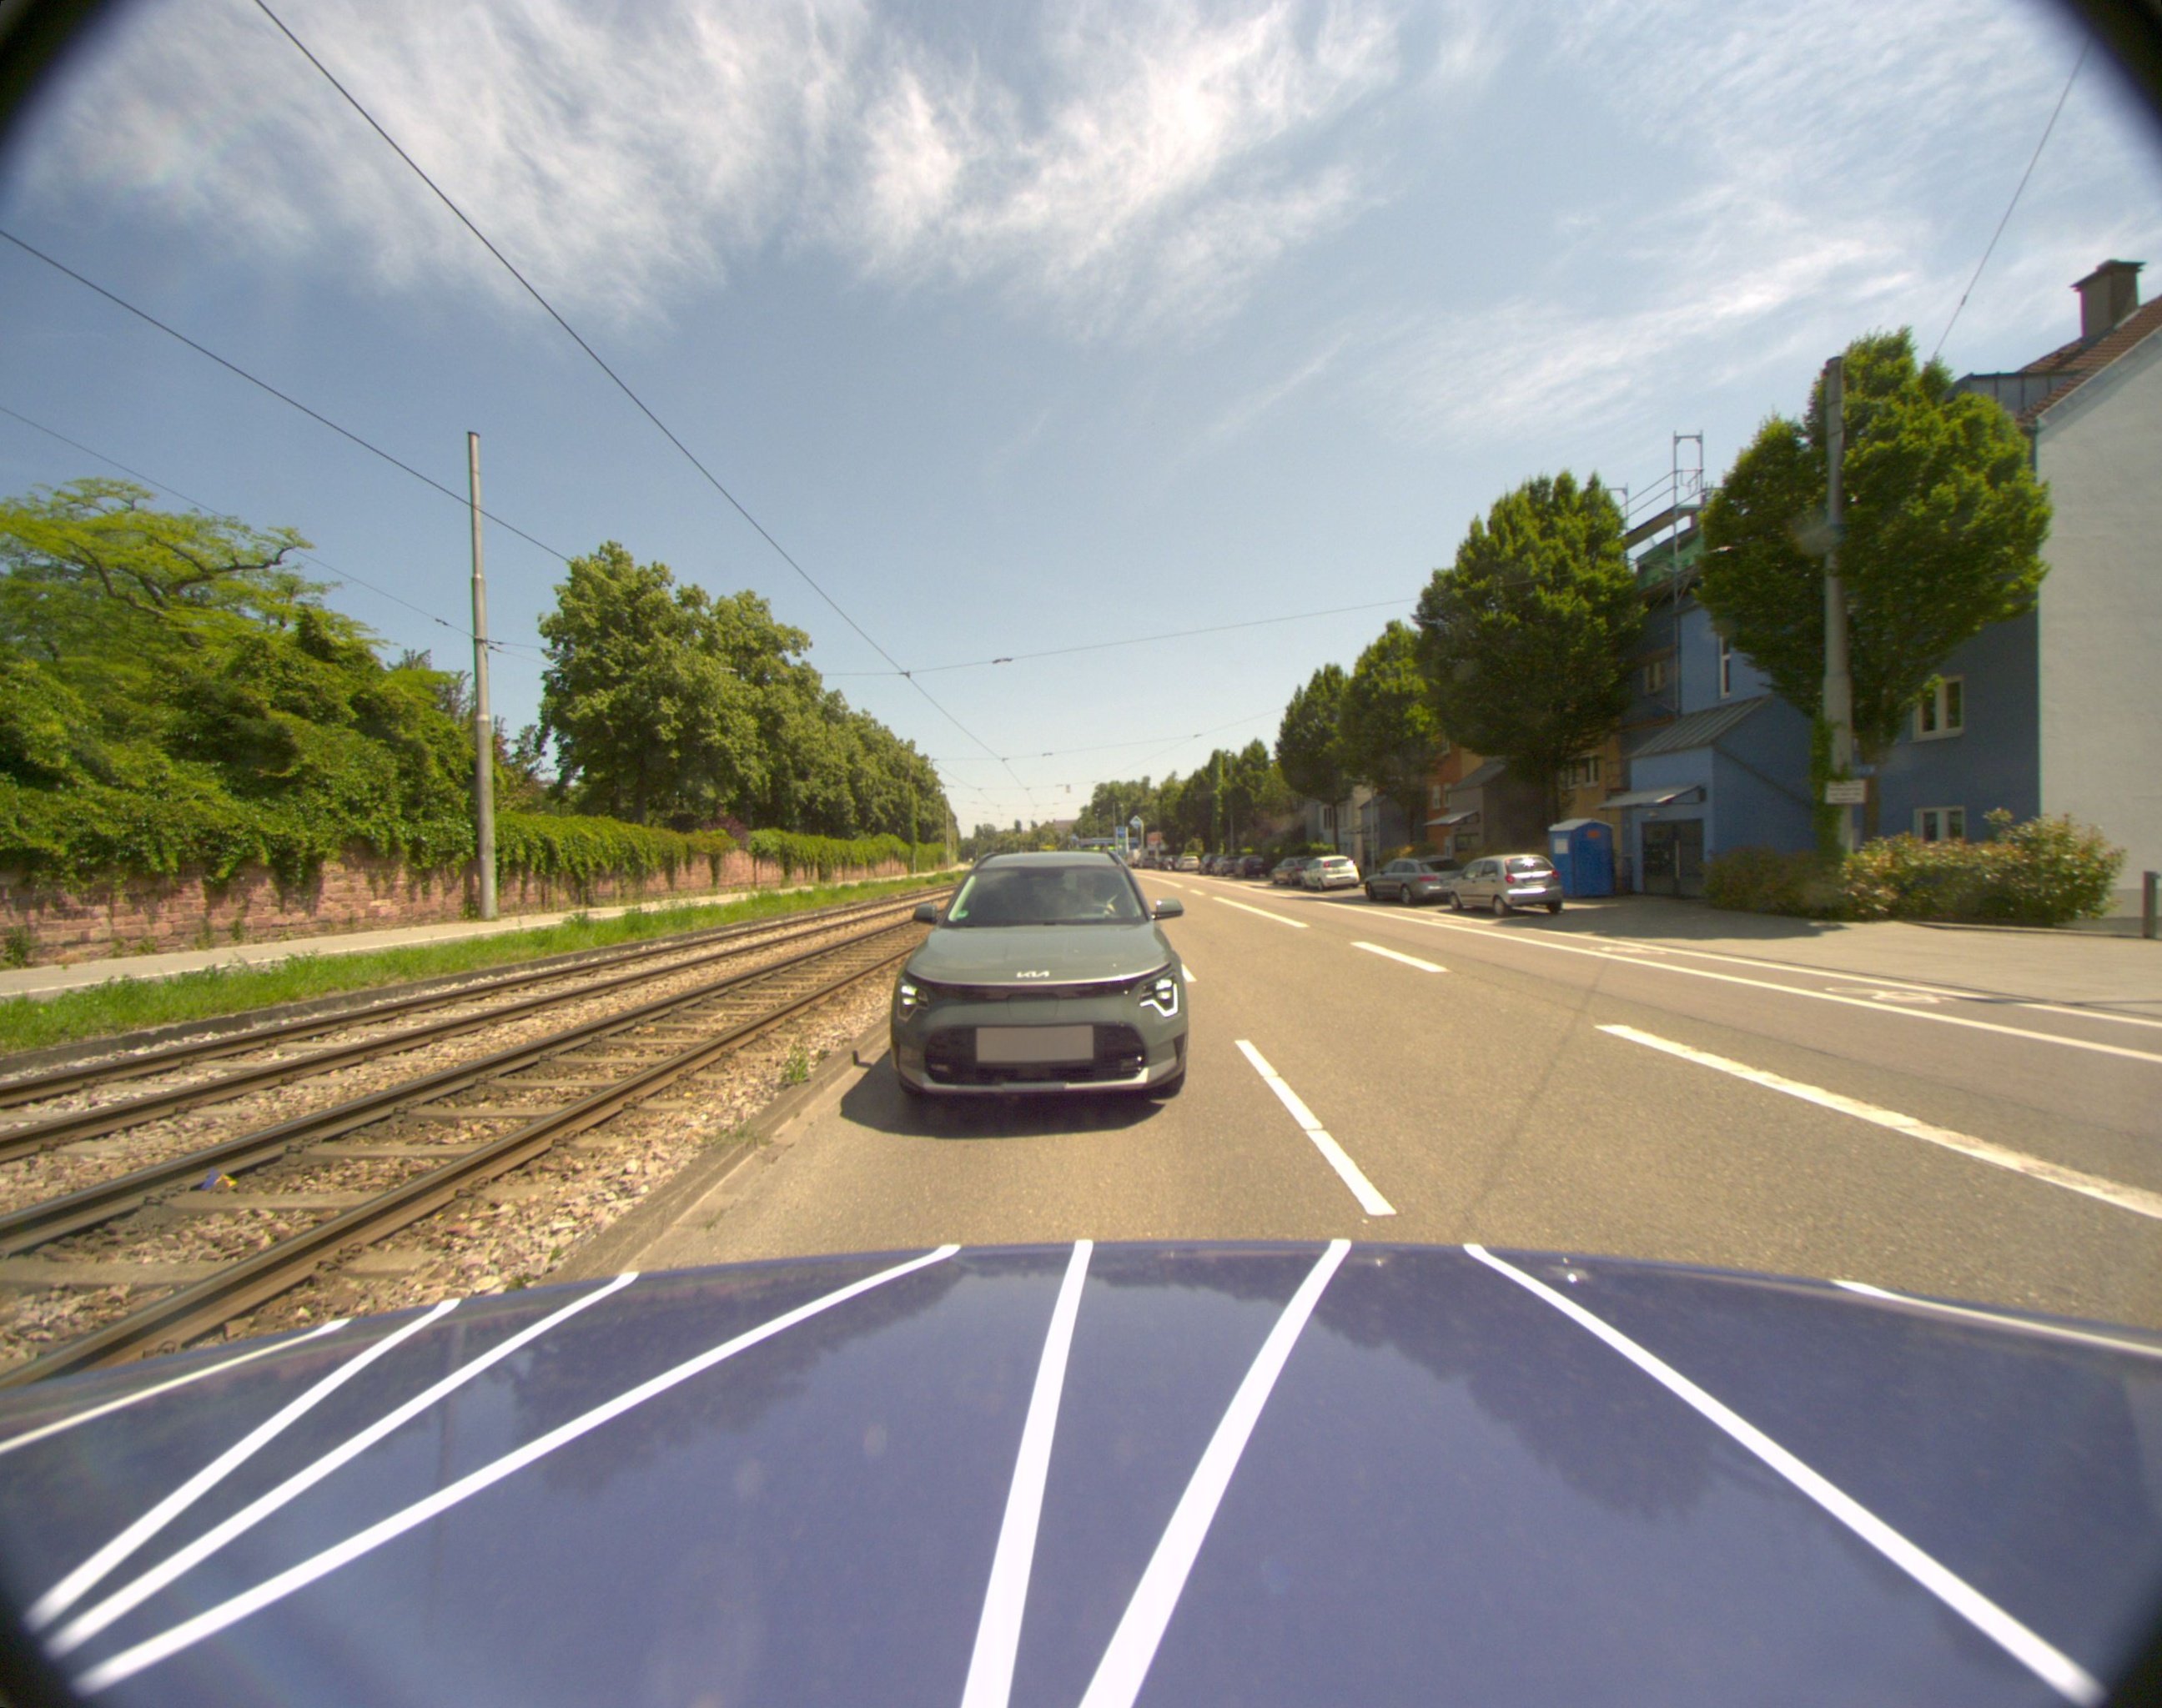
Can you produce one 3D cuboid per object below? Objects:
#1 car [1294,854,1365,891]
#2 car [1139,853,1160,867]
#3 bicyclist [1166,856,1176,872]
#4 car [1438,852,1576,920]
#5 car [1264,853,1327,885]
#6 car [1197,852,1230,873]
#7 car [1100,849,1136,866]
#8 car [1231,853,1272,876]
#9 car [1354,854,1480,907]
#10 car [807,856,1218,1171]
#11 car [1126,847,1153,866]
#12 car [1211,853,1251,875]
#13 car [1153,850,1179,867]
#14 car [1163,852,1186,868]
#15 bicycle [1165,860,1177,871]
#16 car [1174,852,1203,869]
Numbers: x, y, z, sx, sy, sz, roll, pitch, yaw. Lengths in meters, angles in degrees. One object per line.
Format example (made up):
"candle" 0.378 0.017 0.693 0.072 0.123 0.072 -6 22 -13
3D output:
"car" 11.387 0.810 35.165 1.750 1.434 4.420 -6 0 0
"car" 8.484 0.727 94.199 1.870 1.528 4.142 -3 0 -4
"bicyclist" 8.218 0.916 69.468 0.737 1.422 1.124 2 1 -2
"car" 11.037 0.771 19.956 1.597 1.487 3.448 -6 0 1
"car" 11.331 0.765 40.521 1.708 1.421 4.750 -6 0 -3
"car" 10.924 0.664 62.784 1.772 1.579 4.147 -3 0 -3
"car" 5.923 0.530 121.407 5.219 2.294 2.288 -3 0 16
"car" 11.513 0.692 51.674 1.754 1.424 4.257 -4 0 0
"car" 10.972 0.828 25.304 1.791 1.441 5.133 -5 -1 0
"car" -0.259 0.847 5.950 2.062 1.534 4.001 -3 0 3
"car" 7.652 0.345 100.138 2.285 2.294 5.226 -3 0 -8
"car" 11.184 0.695 56.964 1.830 1.487 4.756 -3 0 -1
"car" 9.505 0.489 85.205 1.999 1.783 4.556 -2 0 -5
"car" 9.835 0.663 79.998 1.604 1.584 3.680 -3 0 -6
"bicycle" 8.256 1.066 69.585 0.703 0.945 2.243 1 -1 -2
"car" 10.444 0.632 74.106 1.845 1.573 4.495 -3 0 -2
